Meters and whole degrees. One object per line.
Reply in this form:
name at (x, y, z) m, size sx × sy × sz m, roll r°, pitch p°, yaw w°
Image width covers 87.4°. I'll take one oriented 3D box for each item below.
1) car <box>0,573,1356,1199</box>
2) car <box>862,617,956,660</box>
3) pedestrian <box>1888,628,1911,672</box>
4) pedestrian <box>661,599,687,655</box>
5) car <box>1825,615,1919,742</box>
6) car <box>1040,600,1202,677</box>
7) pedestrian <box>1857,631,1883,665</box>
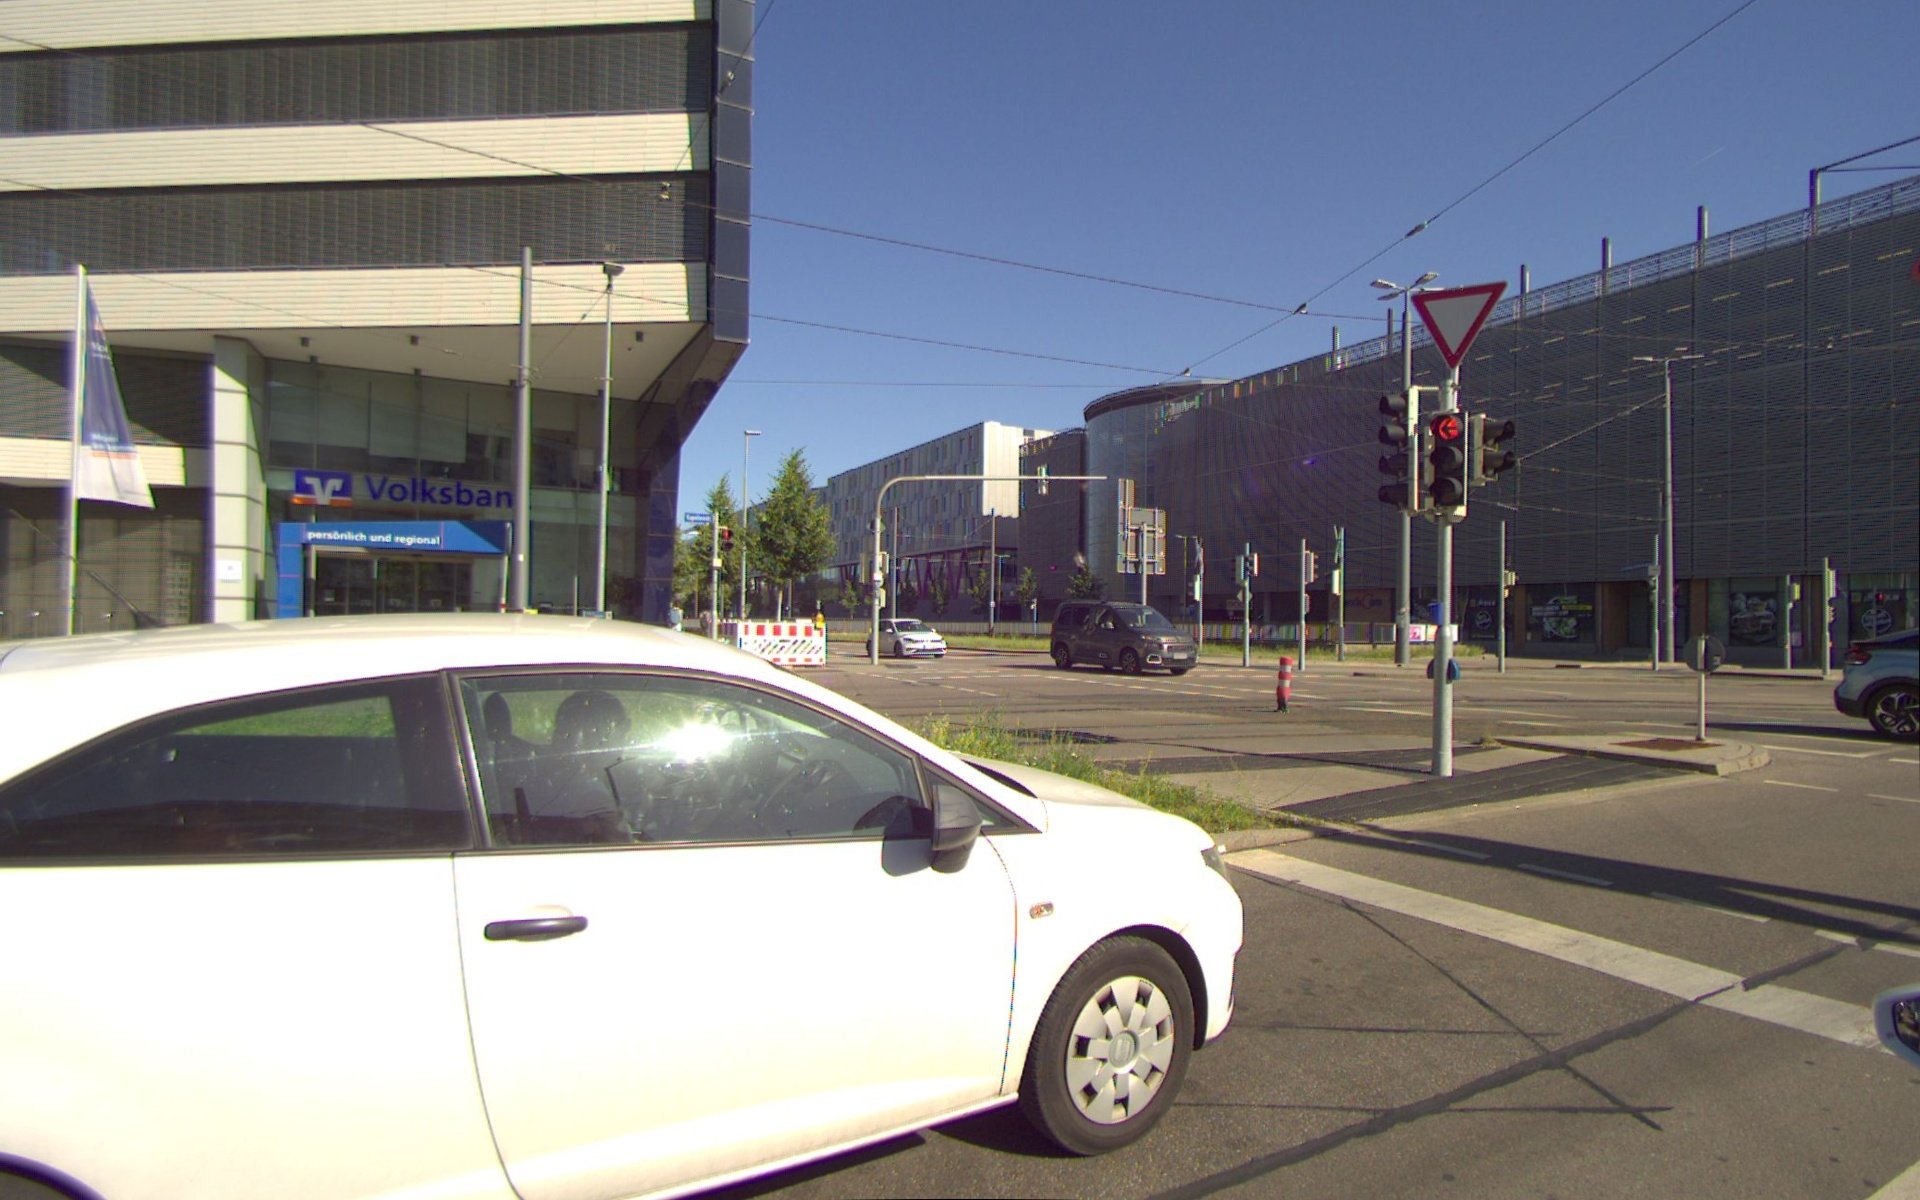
car at (-0.955, 0.740, 2.790) m, size 3.977 × 1.460 × 1.723 m, roll 2°, pitch 1°, yaw -31°
car at (-1.955, 1.380, 37.082) m, size 1.842 × 1.492 × 4.265 m, roll 1°, pitch -1°, yaw -28°
pedestrian at (39.969, 2.120, 42.730) m, size 0.687 × 1.821 × 0.726 m, roll -2°, pitch -3°, yaw 44°
pedestrian at (-8.928, 0.852, 31.293) m, size 0.729 × 1.719 × 0.805 m, roll 0°, pitch -2°, yaw -20°
car at (13.081, 0.988, 11.723) m, size 1.692 × 1.534 × 4.237 m, roll 1°, pitch 0°, yaw -34°
car at (4.024, 0.937, 25.811) m, size 1.689 × 1.815 × 4.437 m, roll 1°, pitch -1°, yaw -30°
pedestrian at (44.341, 2.320, 48.945) m, size 0.584 × 1.622 × 0.661 m, roll 2°, pitch 0°, yaw -11°
